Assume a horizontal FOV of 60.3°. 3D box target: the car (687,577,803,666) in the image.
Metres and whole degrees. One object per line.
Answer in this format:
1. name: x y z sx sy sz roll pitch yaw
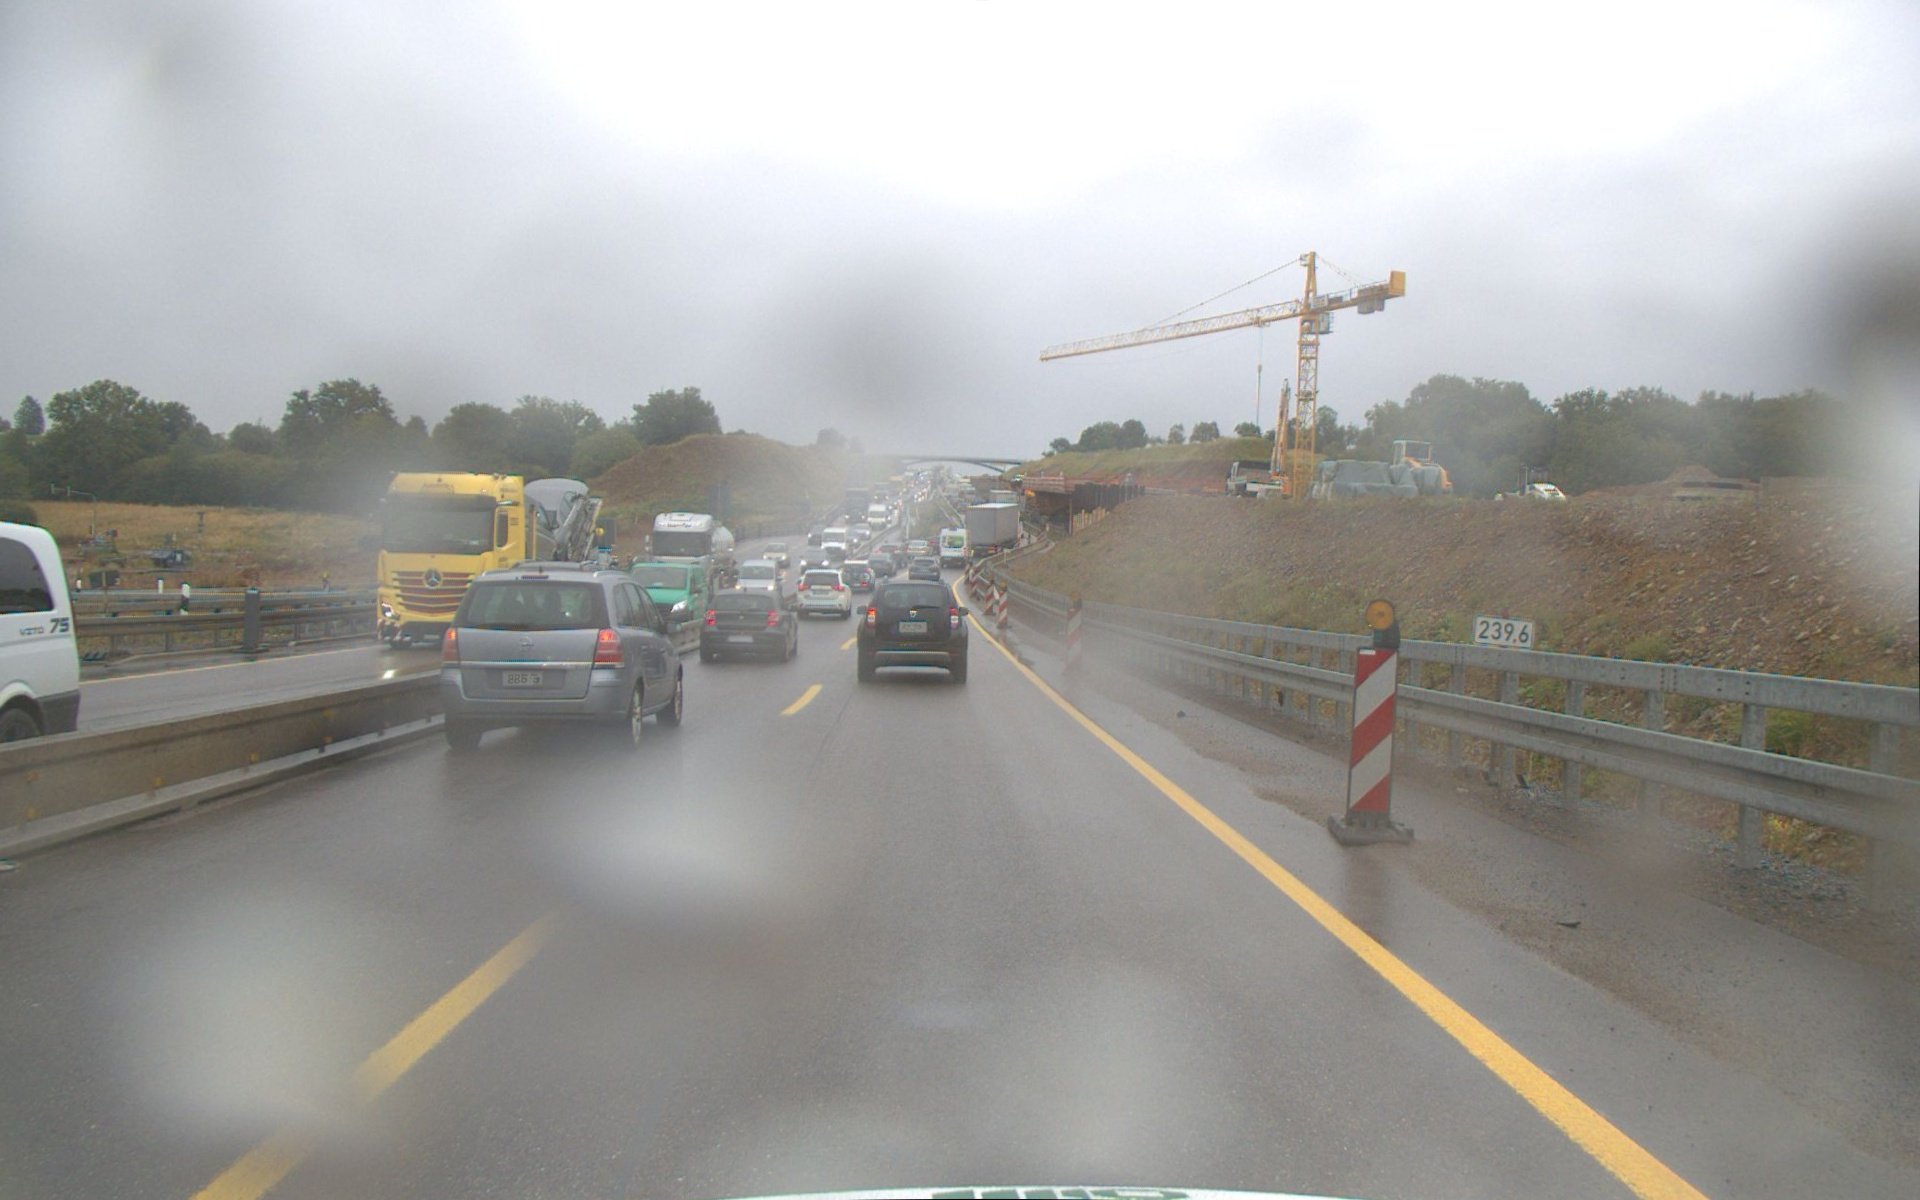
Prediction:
1. car: -4.230 0.380 33.121 1.954 1.628 4.138 1 1 -3

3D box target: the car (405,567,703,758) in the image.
1. car: -3.834 0.520 16.384 1.953 1.628 4.140 1 1 -1

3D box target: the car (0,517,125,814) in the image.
1. car: -6.777 0.402 9.024 1.837 1.824 5.358 0 0 -2

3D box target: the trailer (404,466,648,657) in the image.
1. trailer: -10.925 -0.920 43.767 2.694 4.112 15.355 1 1 -1

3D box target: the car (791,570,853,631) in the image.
1. car: -4.800 -0.011 58.107 1.953 2.049 3.892 1 0 -2

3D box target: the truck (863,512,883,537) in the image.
1. truck: -9.728 -8.459 185.560 2.104 2.760 6.015 1 2 -2

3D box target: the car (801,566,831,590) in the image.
1. car: -9.344 -1.456 107.570 1.737 1.530 4.678 1 1 -2

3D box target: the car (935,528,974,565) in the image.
1. car: -0.380 -3.871 120.145 1.951 2.527 4.986 1 1 10

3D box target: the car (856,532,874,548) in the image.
1. car: -9.316 -5.900 163.090 1.643 1.550 4.344 1 2 -2

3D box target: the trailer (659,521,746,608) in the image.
1. trailer: -11.938 -1.630 77.728 2.568 3.741 11.999 1 1 -2

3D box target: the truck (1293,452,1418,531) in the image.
1. truck: 17.151 -4.644 72.455 3.326 2.925 8.960 1 1 0

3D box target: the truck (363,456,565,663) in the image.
1. truck: -10.774 -0.847 36.570 2.694 4.133 6.146 1 0 -1

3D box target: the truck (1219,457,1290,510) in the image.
1. truck: 16.845 -6.645 94.964 2.592 2.599 6.982 1 1 -2

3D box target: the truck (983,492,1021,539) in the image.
1. truck: 4.941 -10.079 198.950 3.727 5.130 12.917 1 1 -2

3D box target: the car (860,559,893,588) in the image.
1. car: -5.324 -1.696 106.006 1.953 1.792 3.814 1 1 -1

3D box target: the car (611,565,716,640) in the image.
1. car: -7.593 0.021 42.781 1.953 1.789 4.687 1 1 -1

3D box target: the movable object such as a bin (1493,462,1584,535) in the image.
1. movable object such as a bin: 32.238 -5.595 92.416 2.295 3.662 6.555 1 0 -4

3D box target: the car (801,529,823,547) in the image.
1. car: -13.678 -5.720 153.005 1.751 1.565 4.311 1 1 -2

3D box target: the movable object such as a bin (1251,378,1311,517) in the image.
1. movable object such as a bin: 27.650 -12.898 142.143 4.618 11.031 10.312 1 0 13

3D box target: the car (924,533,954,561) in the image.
1. car: -1.773 -4.500 140.972 1.951 2.200 4.144 1 0 7

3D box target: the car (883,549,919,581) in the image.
1. car: -4.198 -2.460 117.469 1.951 2.200 4.143 1 0 6

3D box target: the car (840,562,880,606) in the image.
1. car: -5.190 -0.825 85.088 1.954 2.200 4.137 1 1 -5

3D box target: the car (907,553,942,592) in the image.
1. car: -2.048 -1.573 96.411 1.953 2.200 4.140 1 1 -1

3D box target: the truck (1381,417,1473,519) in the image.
1. truck: 21.650 -6.045 76.988 2.325 4.292 5.977 1 0 -2

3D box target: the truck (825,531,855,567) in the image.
1. truck: -9.320 -3.951 128.781 2.037 2.621 5.960 1 1 -2

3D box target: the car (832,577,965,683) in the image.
1. car: -0.987 0.447 27.870 2.039 1.628 4.140 1 1 -1

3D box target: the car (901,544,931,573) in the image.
1. car: -3.461 -3.248 131.019 1.951 2.200 4.143 1 0 5

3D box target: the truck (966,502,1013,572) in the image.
1. truck: 2.545 -5.165 138.719 3.036 5.520 9.450 1 0 6

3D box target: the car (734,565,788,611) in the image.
1. car: -8.257 -0.518 68.939 1.828 1.831 4.161 1 1 -2

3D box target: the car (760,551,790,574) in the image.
1. car: -12.885 -2.649 115.479 1.752 1.573 3.999 1 2 -2

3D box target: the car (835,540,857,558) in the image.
1. car: -10.157 -4.543 147.878 1.751 1.565 4.311 1 1 -2

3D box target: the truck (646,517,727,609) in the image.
1. truck: -11.682 -1.555 71.128 2.568 3.741 6.593 1 1 -2

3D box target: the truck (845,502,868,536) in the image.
1. truck: -12.600 -9.880 201.236 2.589 4.038 9.212 1 3 -3
